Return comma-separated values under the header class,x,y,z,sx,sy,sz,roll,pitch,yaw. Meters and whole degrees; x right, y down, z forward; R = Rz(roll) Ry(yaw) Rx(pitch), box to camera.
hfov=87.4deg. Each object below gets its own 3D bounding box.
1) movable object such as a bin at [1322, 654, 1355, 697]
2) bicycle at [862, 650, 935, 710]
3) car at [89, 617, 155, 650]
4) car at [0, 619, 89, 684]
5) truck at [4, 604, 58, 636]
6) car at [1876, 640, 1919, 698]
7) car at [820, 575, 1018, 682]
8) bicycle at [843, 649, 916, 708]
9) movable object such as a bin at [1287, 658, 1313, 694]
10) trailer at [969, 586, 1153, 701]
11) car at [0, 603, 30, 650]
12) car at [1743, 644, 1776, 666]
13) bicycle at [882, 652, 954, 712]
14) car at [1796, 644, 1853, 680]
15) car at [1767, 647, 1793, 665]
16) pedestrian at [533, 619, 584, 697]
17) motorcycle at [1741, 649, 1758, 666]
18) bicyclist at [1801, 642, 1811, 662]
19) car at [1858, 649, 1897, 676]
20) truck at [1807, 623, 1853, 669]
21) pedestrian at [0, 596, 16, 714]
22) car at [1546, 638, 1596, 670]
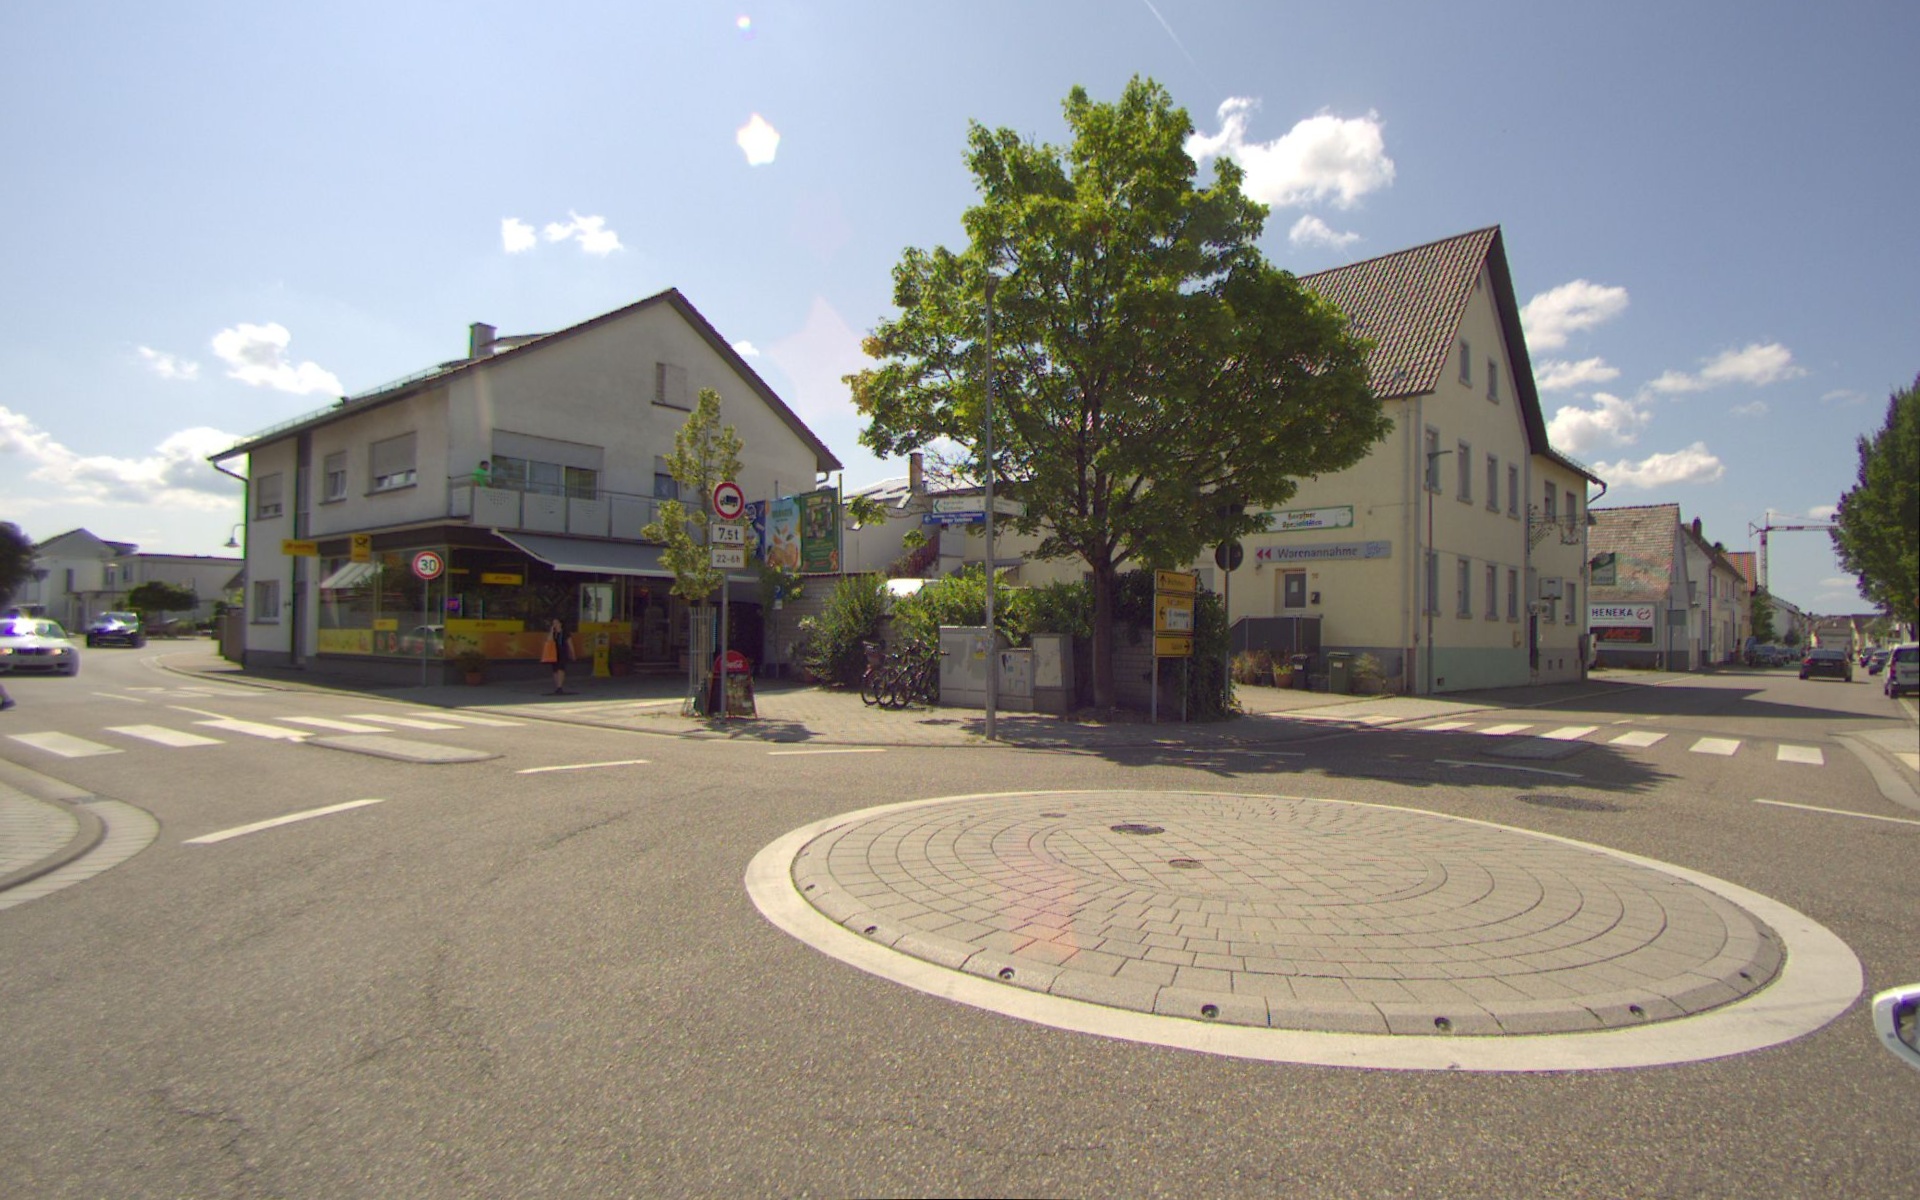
class,x,y,z,sx,sy,sz,roll,pitch,yaw
movable object such as a bin,9.939,1.960,26.366,0.593,1.093,0.654,-1,-2,44
bicycle,-1.164,1.532,19.529,0.394,1.017,1.979,0,0,30
car,-39.663,1.564,47.647,1.861,1.368,4.376,3,-1,-34
car,-24.402,1.308,26.380,4.274,1.468,1.870,1,-1,43
truck,-75.445,1.634,81.543,5.776,2.483,2.239,-1,-2,38
car,31.797,2.264,33.420,1.699,1.813,4.125,-2,-3,40
car,-0.962,0.775,27.085,1.915,2.601,5.617,2,-1,42
bicycle,-1.557,1.517,19.737,0.394,1.017,1.979,0,0,30
movable object such as a bin,9.145,2.040,27.009,0.474,0.940,0.544,-1,-2,44
trailer,2.409,0.973,23.121,1.858,2.366,4.499,2,-1,42
car,-39.794,1.066,40.806,1.850,1.857,3.947,2,-1,-26
car,60.660,4.140,76.150,1.788,1.610,3.980,0,-2,41
bicycle,-0.784,1.546,19.292,0.394,1.017,1.979,0,0,30
car,40.826,2.888,47.397,1.881,1.584,4.451,0,-2,43
car,77.071,5.229,94.392,1.788,1.610,3.980,0,-2,41
pedestrian,-8.467,1.205,21.230,0.735,1.610,0.880,0,0,-2
motorcycle,57.714,4.180,73.402,0.836,1.185,2.458,2,-1,40
bicyclist,91.231,5.618,108.288,0.731,2.086,0.841,2,-1,39
car,55.659,3.761,60.899,1.701,1.481,4.133,0,-2,43
truck,86.455,4.587,99.757,3.111,4.306,9.251,2,-1,43
pedestrian,-15.528,0.864,15.724,0.771,1.850,1.018,0,0,41
car,33.255,2.922,54.630,1.699,1.576,4.179,2,-1,40
